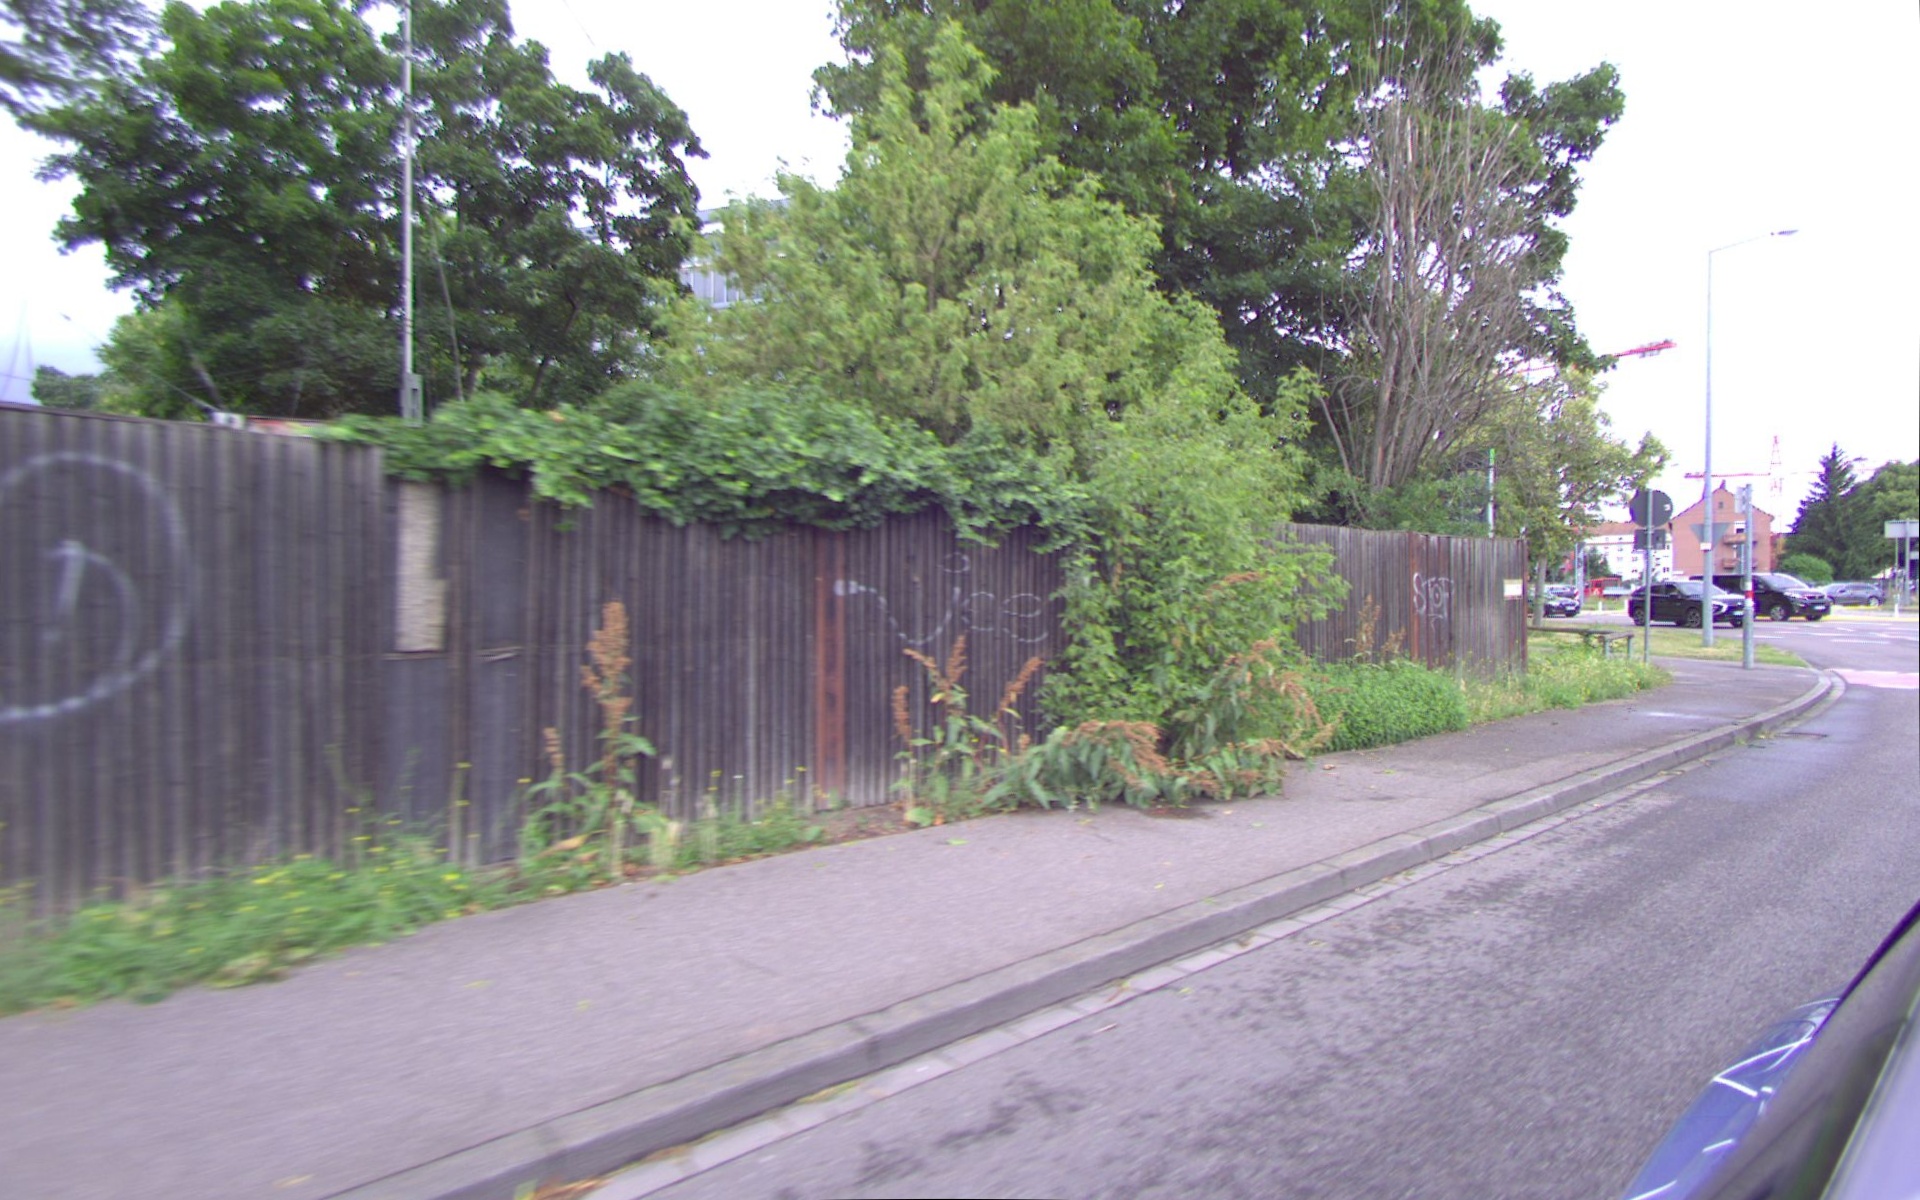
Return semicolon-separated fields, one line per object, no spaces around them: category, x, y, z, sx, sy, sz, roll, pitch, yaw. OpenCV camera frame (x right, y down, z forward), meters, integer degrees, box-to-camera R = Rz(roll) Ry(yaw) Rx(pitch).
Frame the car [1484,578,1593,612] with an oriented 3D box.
car;28.564;-0.269;50.158;1.958;1.638;4.367;0;1;-24

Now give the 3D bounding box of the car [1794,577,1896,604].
car;51.862;-0.570;59.366;4.258;1.489;2.001;0;1;-2

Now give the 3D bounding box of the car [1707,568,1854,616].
car;31.601;-0.324;39.125;1.889;1.736;4.022;-1;1;-17

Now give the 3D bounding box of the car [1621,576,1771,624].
car;26.167;-0.034;36.202;1.883;1.586;4.480;-1;1;-4
